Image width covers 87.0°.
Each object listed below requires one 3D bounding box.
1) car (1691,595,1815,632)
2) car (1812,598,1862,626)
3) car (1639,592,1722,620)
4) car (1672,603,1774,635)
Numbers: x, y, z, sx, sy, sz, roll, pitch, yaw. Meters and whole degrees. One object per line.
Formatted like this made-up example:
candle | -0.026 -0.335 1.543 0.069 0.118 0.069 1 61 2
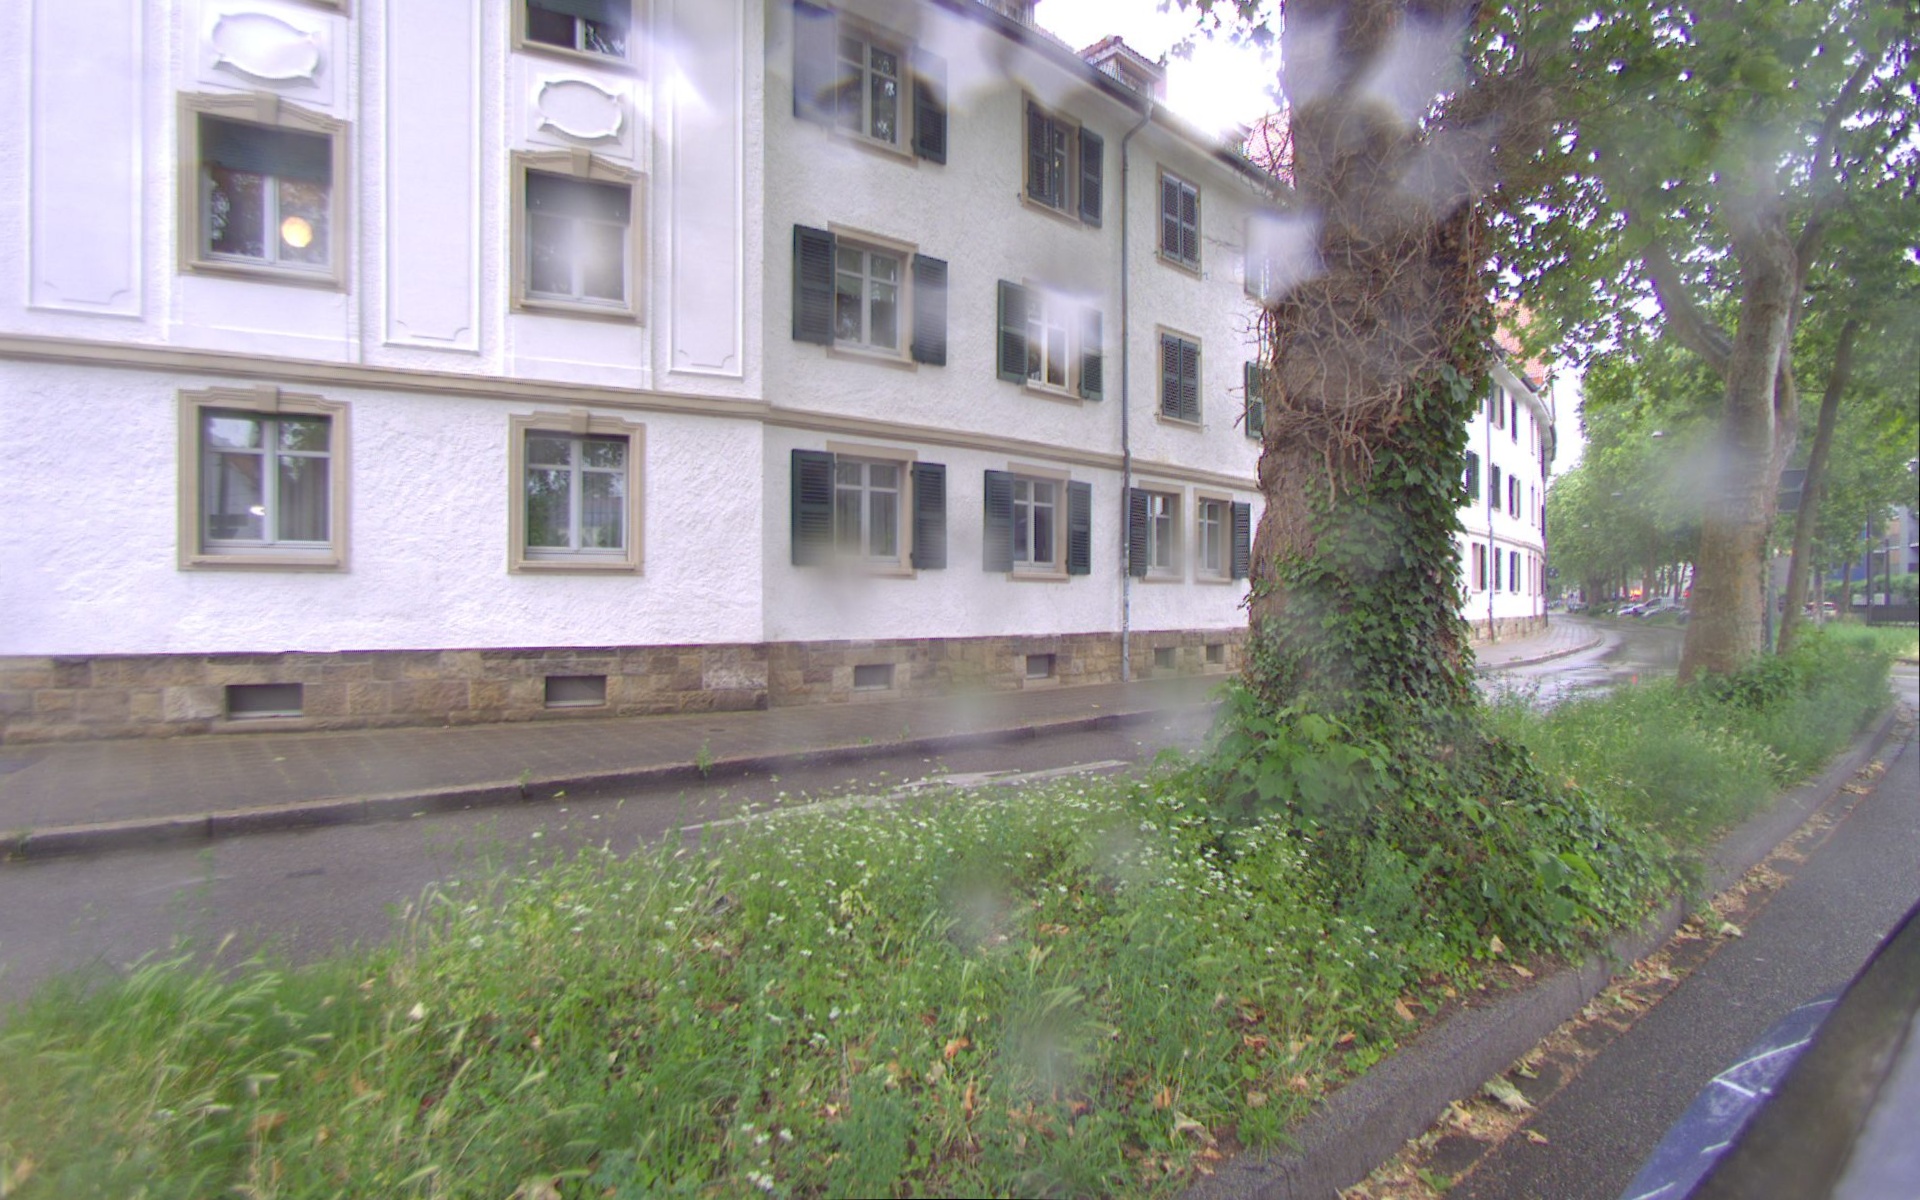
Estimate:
car | 37.927 0.612 48.508 1.892 1.560 4.236 0 1 -30
car | 57.779 0.756 66.740 1.677 1.745 3.656 2 1 28
car | 56.572 0.438 79.568 1.960 2.039 4.899 1 1 -30
car | 43.547 1.062 57.822 1.715 1.632 4.335 1 1 -35
